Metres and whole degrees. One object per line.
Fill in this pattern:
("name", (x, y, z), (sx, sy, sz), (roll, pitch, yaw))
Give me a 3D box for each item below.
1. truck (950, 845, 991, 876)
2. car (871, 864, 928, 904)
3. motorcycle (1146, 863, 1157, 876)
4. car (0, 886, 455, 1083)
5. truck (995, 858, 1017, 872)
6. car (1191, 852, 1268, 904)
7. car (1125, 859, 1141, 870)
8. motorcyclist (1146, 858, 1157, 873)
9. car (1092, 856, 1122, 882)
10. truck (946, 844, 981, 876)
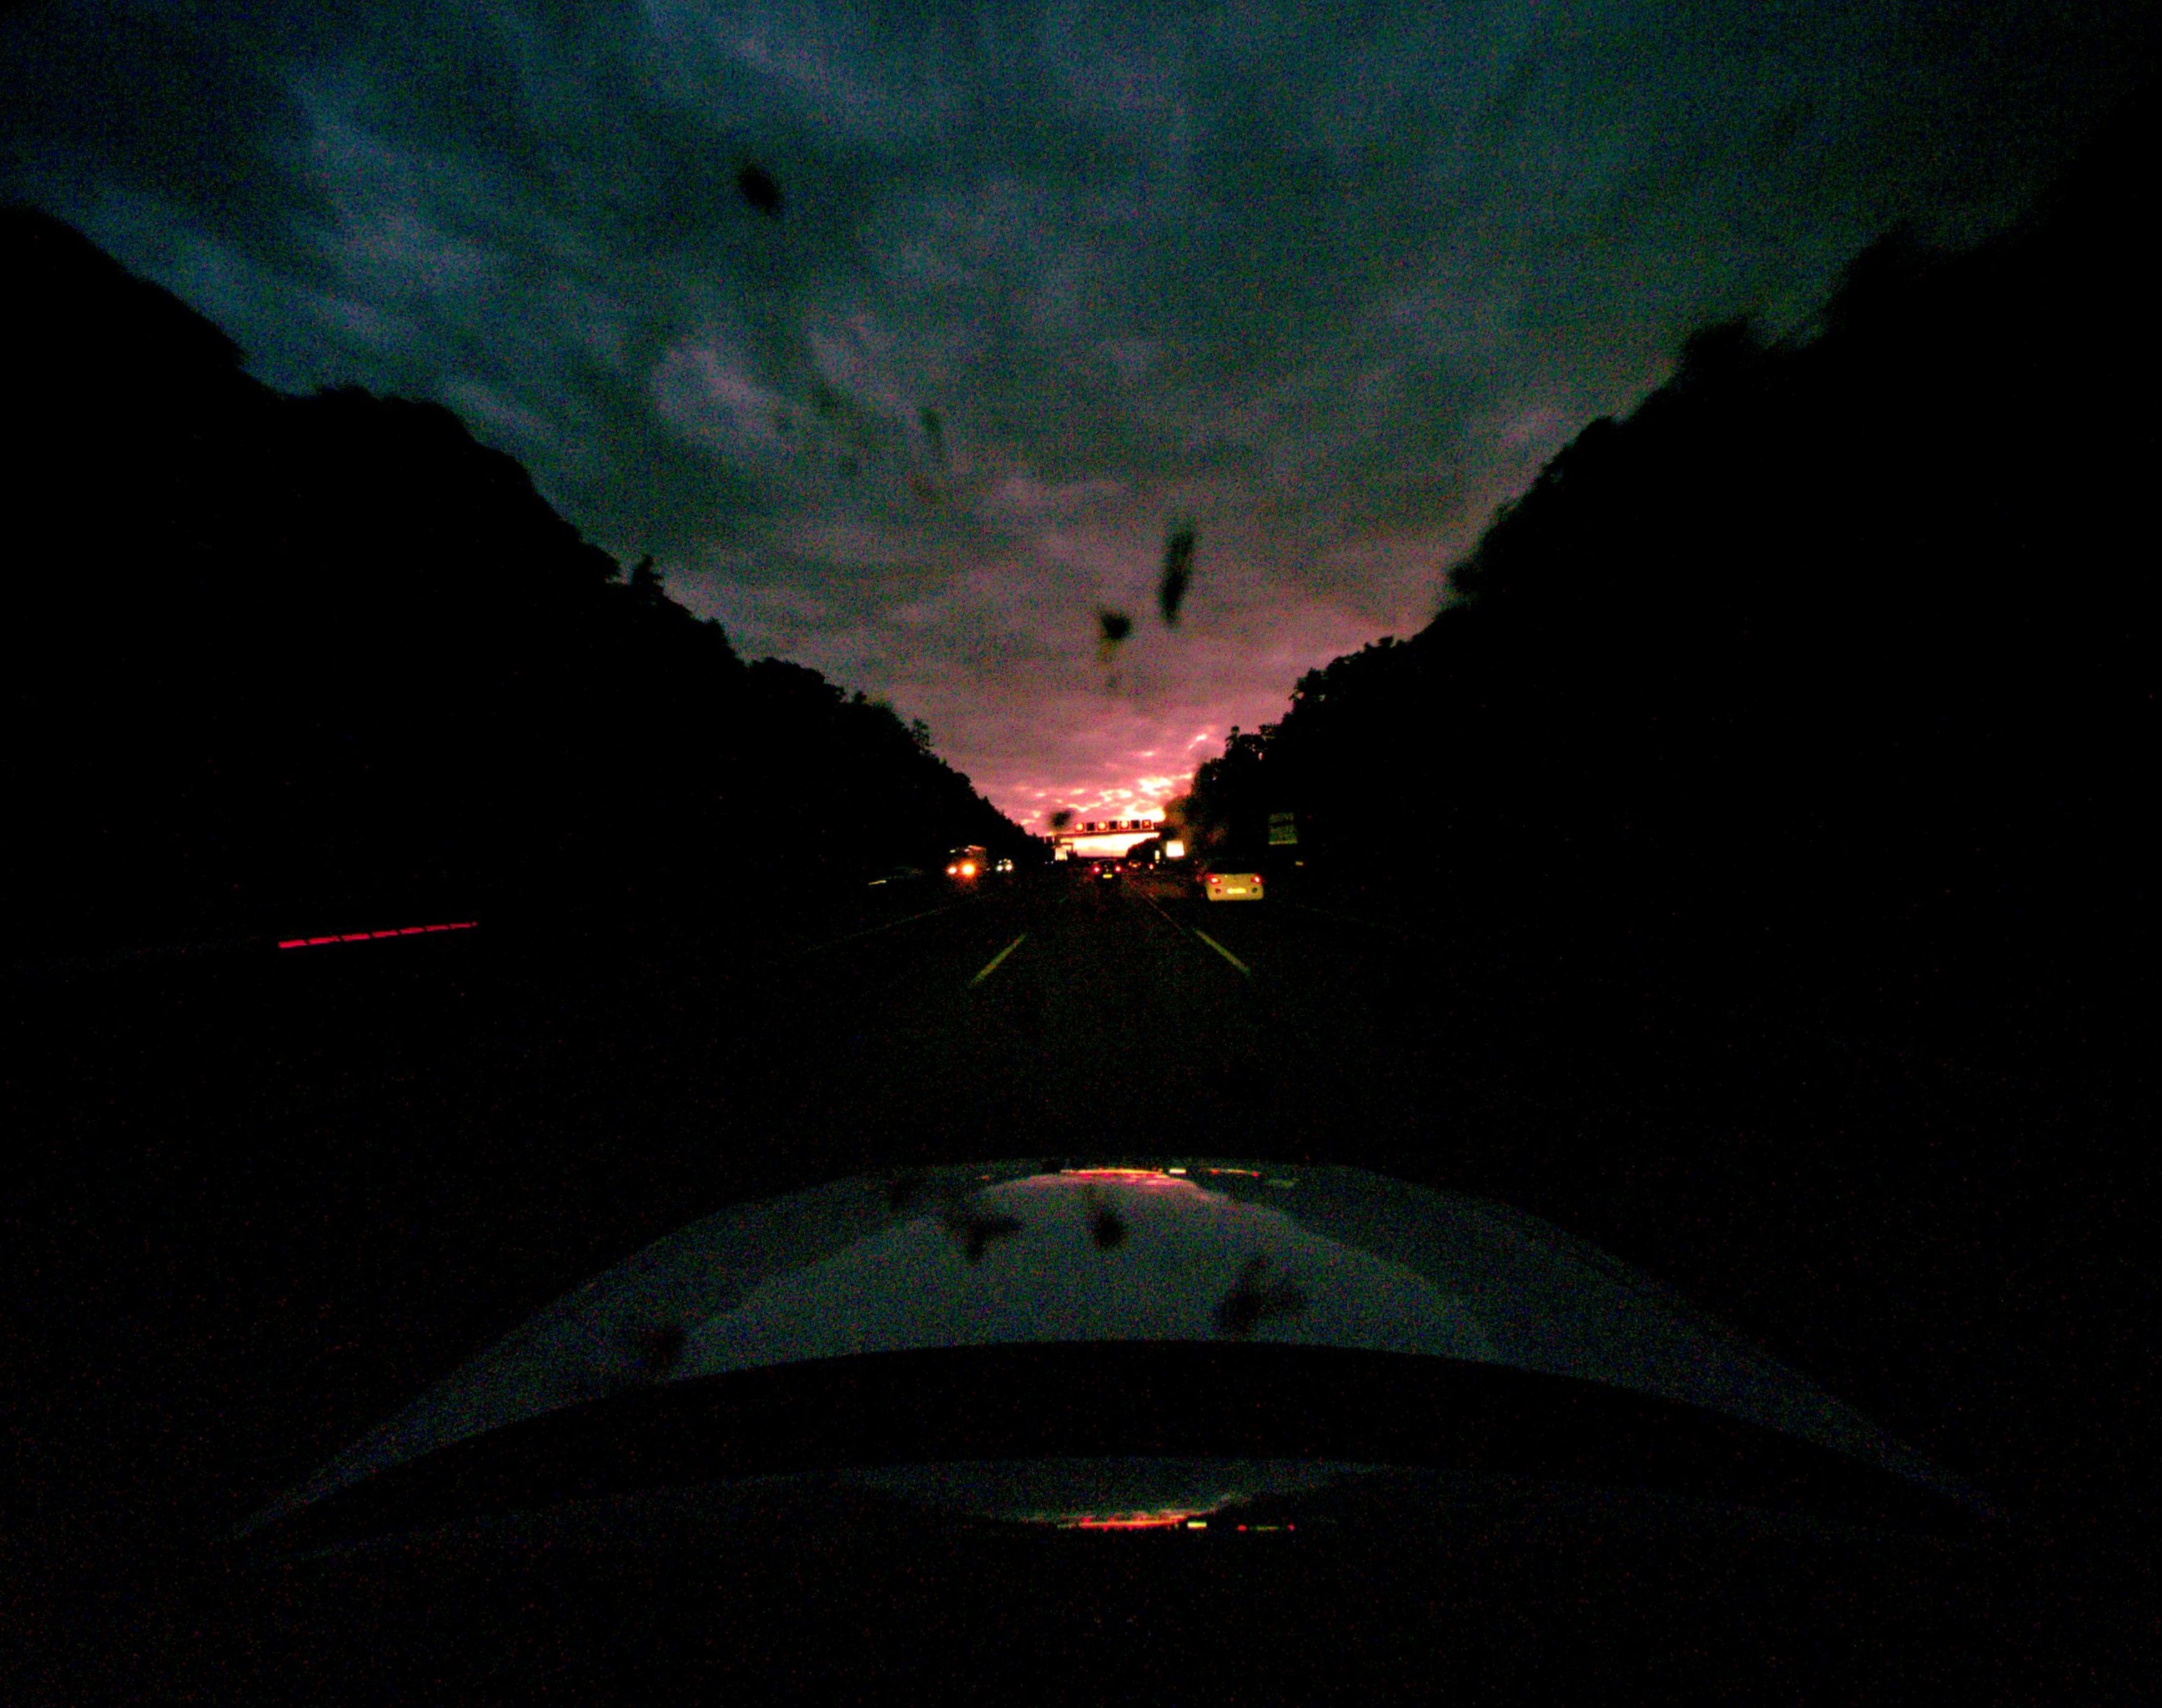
("truck", (-15.464, 0.911, 115.379), (3.345, 4.003, 14.498), (-3, 0, 1))
("car", (-9.982, 1.594, 45.090), (1.924, 1.931, 5.111), (-3, 0, 0))
("motorcycle", (6.469, 1.456, 74.757), (0.826, 1.134, 2.476), (-2, -1, 2))
("car", (-10.782, 1.344, 10.050), (1.909, 1.613, 5.161), (-3, 0, 2))
("truck", (-13.837, 2.000, 151.263), (2.450, 2.510, 9.762), (-2, -1, 3))
("car", (4.524, 0.736, 25.428), (1.818, 1.476, 4.401), (-1, -1, 3))
("car", (7.727, 1.587, 121.853), (1.861, 1.494, 4.394), (-1, -1, -3))
("motorcyclist", (6.453, 1.039, 74.697), (0.826, 1.291, 1.190), (-2, -1, 1))
("car", (1.604, 0.925, 49.775), (1.697, 1.509, 4.234), (-1, -1, 2))
("truck", (-15.588, 0.841, 108.428), (3.368, 4.003, 6.880), (-3, 0, 1))
